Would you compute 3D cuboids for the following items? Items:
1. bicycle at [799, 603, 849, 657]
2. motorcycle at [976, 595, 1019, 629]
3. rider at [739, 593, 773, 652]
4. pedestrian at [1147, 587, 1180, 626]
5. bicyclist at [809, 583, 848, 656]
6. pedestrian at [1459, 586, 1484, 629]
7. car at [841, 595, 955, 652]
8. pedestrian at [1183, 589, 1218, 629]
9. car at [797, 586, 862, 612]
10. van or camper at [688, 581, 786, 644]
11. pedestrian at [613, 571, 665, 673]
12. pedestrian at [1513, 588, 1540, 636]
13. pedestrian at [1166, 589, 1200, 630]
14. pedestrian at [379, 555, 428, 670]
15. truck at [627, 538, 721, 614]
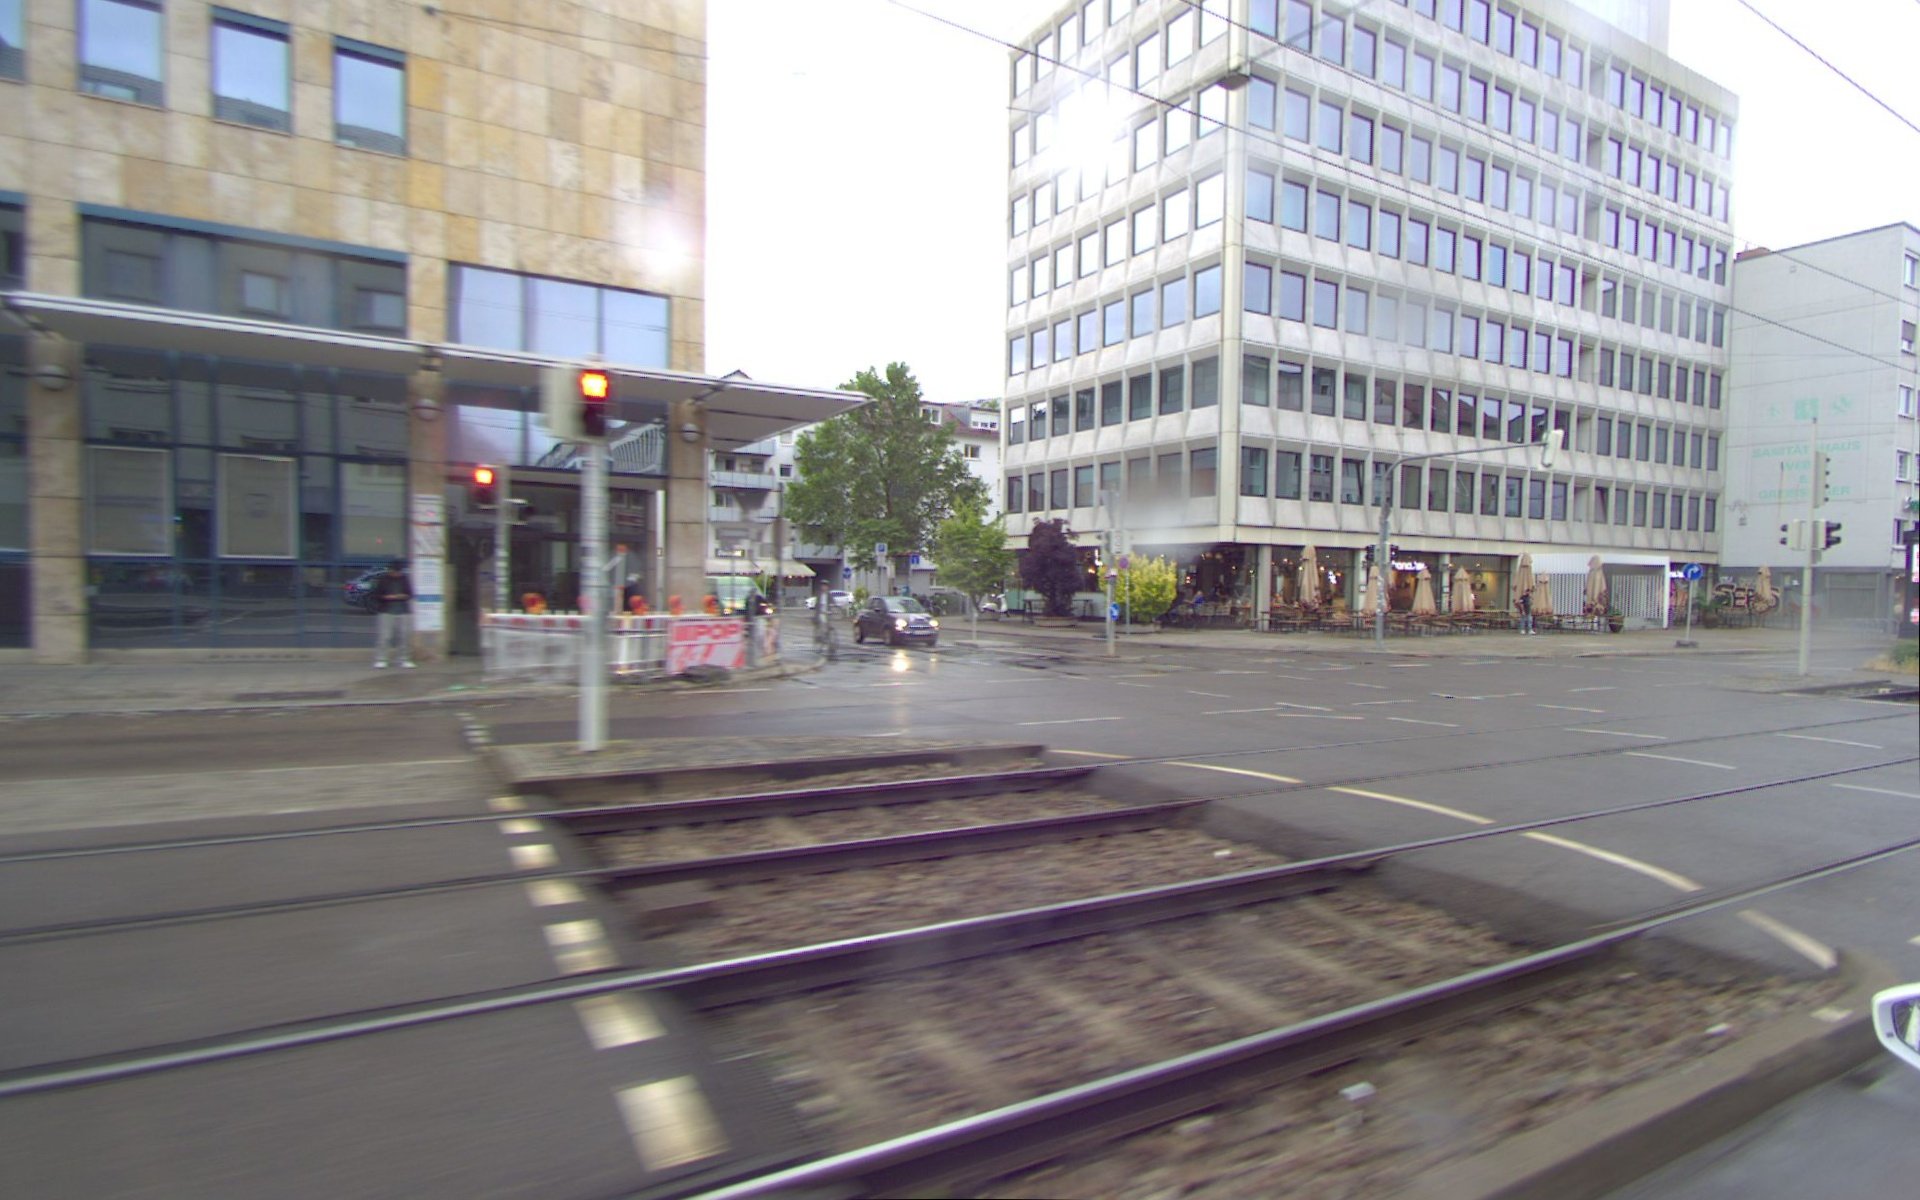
[{"bbox_3d":[-3.506,0.737,25.735,0.652,1.328,1.755,1,0,-30],"label":"bicycle"},{"bbox_3d":[1.920,0.627,51.702,2.055,1.741,0.873,1,0,-30],"label":"motorcycle"},{"bbox_3d":[-6.020,0.651,29.630,0.775,1.698,0.705,0,2,-30],"label":"rider"},{"bbox_3d":[8.190,0.255,40.438,0.887,1.553,0.956,0,2,-32],"label":"pedestrian"},{"bbox_3d":[-3.353,0.496,25.681,0.775,1.828,0.705,0,1,-30],"label":"bicyclist"},{"bbox_3d":[21.105,0.302,41.423,0.836,1.772,0.560,0,2,-35],"label":"pedestrian"},{"bbox_3d":[-1.985,0.672,31.023,1.870,1.550,3.964,0,1,-32],"label":"car"},{"bbox_3d":[9.509,0.348,39.702,0.954,1.553,0.889,0,2,-32],"label":"pedestrian"},{"bbox_3d":[-10.099,-0.064,77.756,4.558,1.871,2.092,1,0,-23],"label":"car"},{"bbox_3d":[-8.328,0.398,37.144,2.072,2.090,5.057,0,1,-30],"label":"van or camper"},{"bbox_3d":[-5.860,0.387,18.358,0.689,1.805,0.679,1,1,5],"label":"pedestrian"},{"bbox_3d":[21.992,0.471,39.001,0.836,1.847,0.560,0,2,-35],"label":"pedestrian"},{"bbox_3d":[8.703,0.361,39.206,0.886,1.553,0.957,0,2,-30],"label":"pedestrian"},{"bbox_3d":[-9.177,0.197,16.578,0.670,1.839,0.698,0,2,-27],"label":"pedestrian"},{"bbox_3d":[-13.339,-1.100,46.414,2.433,3.206,7.111,0,1,-31],"label":"truck"}]
